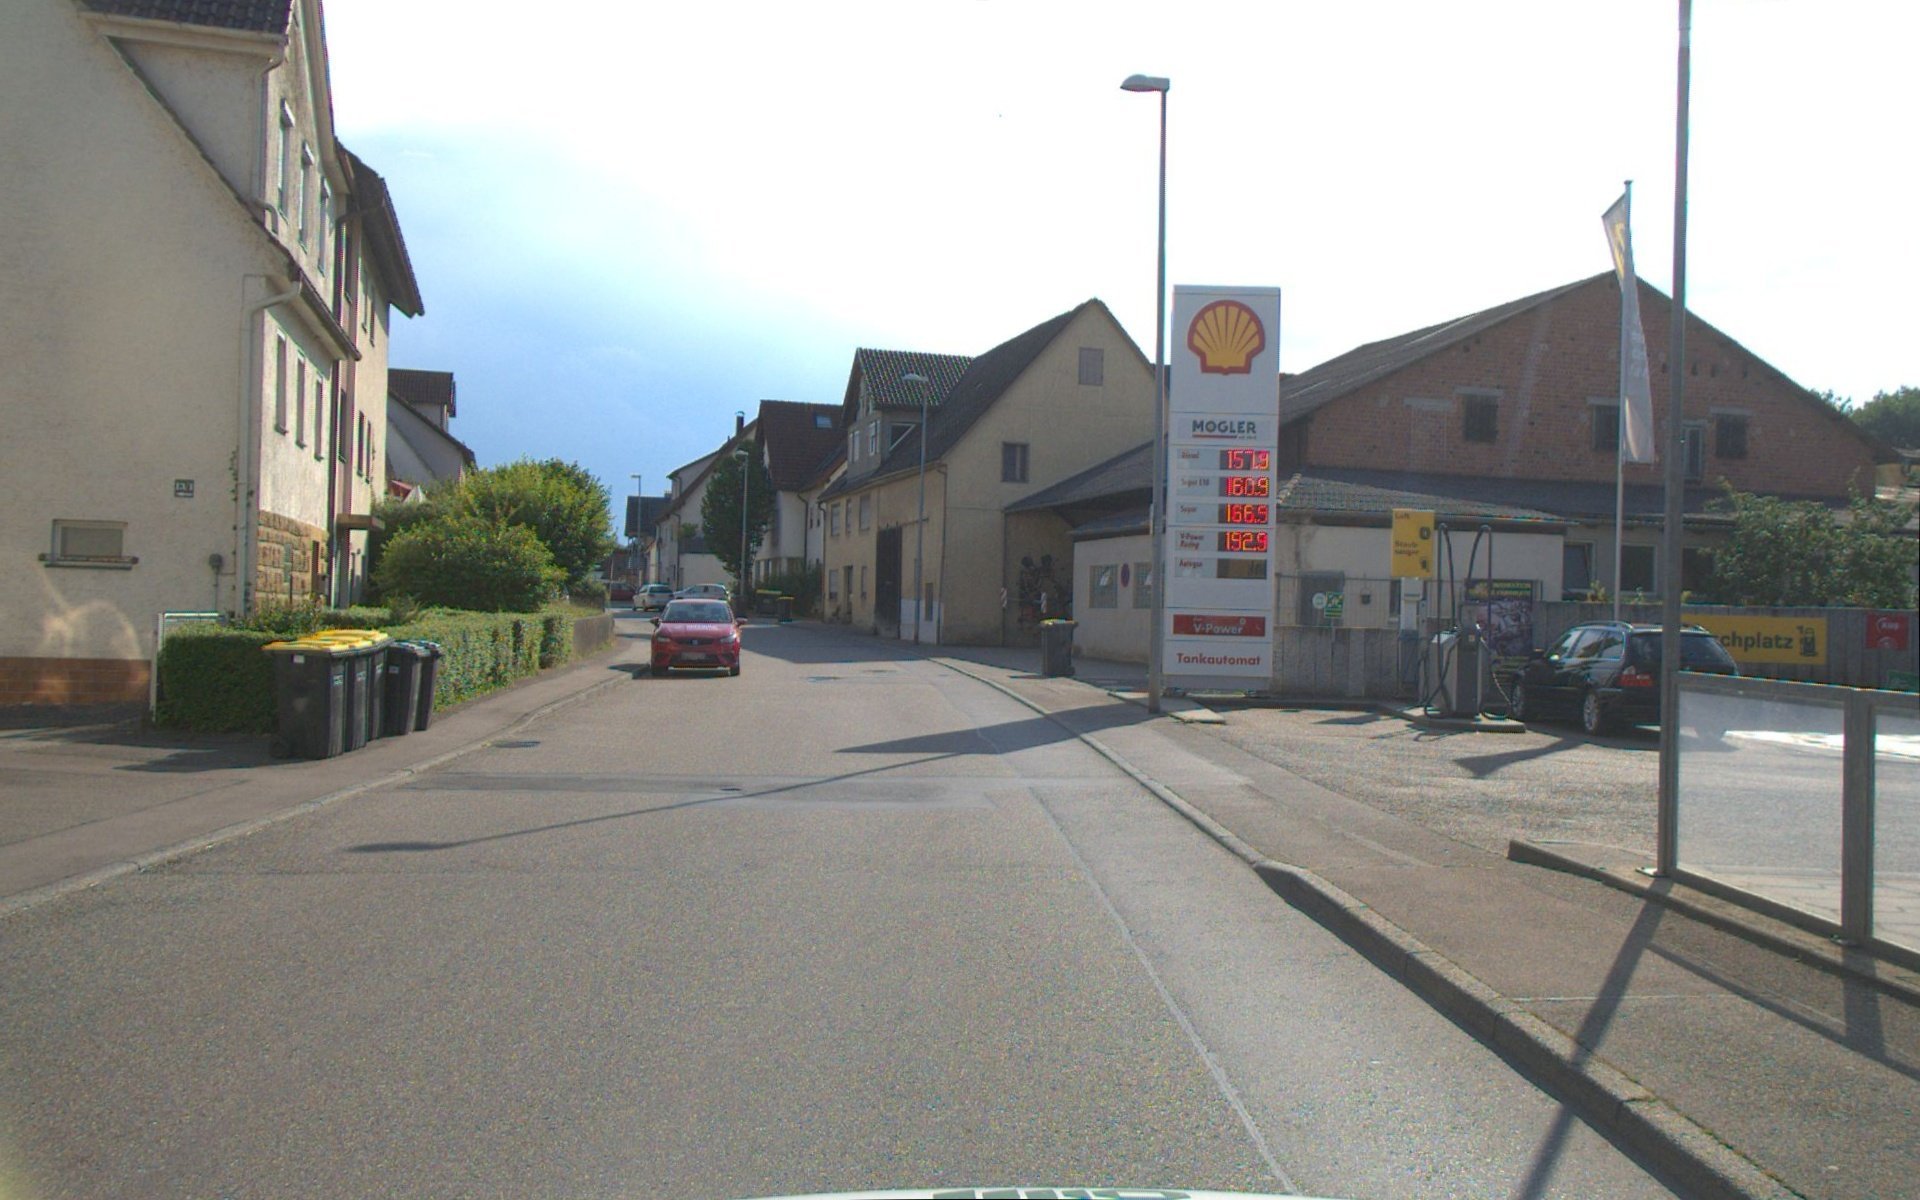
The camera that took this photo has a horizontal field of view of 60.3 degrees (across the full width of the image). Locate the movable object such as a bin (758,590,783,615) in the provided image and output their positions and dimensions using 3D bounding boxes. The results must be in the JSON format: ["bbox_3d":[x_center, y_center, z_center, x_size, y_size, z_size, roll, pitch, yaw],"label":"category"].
[{"bbox_3d":[-9.390,0.117,81.839,1.140,1.189,0.653,1,0,-13],"label":"movable object such as a bin"}]

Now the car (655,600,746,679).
[{"bbox_3d":[-5.143,0.750,32.934,1.677,1.460,3.773,0,0,-8],"label":"car"}]

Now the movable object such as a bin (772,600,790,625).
[{"bbox_3d":[-7.757,0.543,71.681,0.642,1.092,0.511,1,0,-17],"label":"movable object such as a bin"}]

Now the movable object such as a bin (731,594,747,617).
[{"bbox_3d":[-10.693,0.263,80.031,0.642,1.092,0.511,1,0,-17],"label":"movable object such as a bin"}]

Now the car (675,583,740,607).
[{"bbox_3d":[-15.565,-0.319,102.066,3.914,1.376,1.707,1,0,-10],"label":"car"}]

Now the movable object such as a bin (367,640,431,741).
[{"bbox_3d":[-5.939,0.954,17.534,0.520,1.040,0.457,0,0,-1],"label":"movable object such as a bin"}]

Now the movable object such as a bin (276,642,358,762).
[{"bbox_3d":[-6.112,0.959,15.730,0.576,1.103,0.508,0,0,-1],"label":"movable object such as a bin"}]

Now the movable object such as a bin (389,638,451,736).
[{"bbox_3d":[-5.893,0.942,18.057,0.520,1.040,0.457,0,0,-1],"label":"movable object such as a bin"}]

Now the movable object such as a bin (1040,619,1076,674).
[{"bbox_3d":[1.983,0.939,33.535,0.640,1.092,0.512,1,0,-4],"label":"movable object such as a bin"}]

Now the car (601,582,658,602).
[{"bbox_3d":[-24.077,-0.591,120.466,3.922,1.376,1.703,1,0,-16],"label":"car"}]

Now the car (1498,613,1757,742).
[{"bbox_3d":[8.788,0.959,22.195,1.546,1.452,4.379,2,0,-2],"label":"car"}]

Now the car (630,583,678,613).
[{"bbox_3d":[-17.067,-0.129,92.159,1.683,1.606,3.969,1,0,-25],"label":"car"}]

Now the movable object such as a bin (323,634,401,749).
[{"bbox_3d":[-6.123,0.924,16.953,0.576,1.141,0.617,0,0,-1],"label":"movable object such as a bin"}]

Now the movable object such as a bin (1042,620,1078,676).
[{"bbox_3d":[1.996,0.952,32.988,0.640,1.092,0.512,1,0,-4],"label":"movable object such as a bin"}]

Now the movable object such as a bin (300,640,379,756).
[{"bbox_3d":[-6.121,0.957,16.326,0.576,1.103,0.529,0,0,-1],"label":"movable object such as a bin"}]
